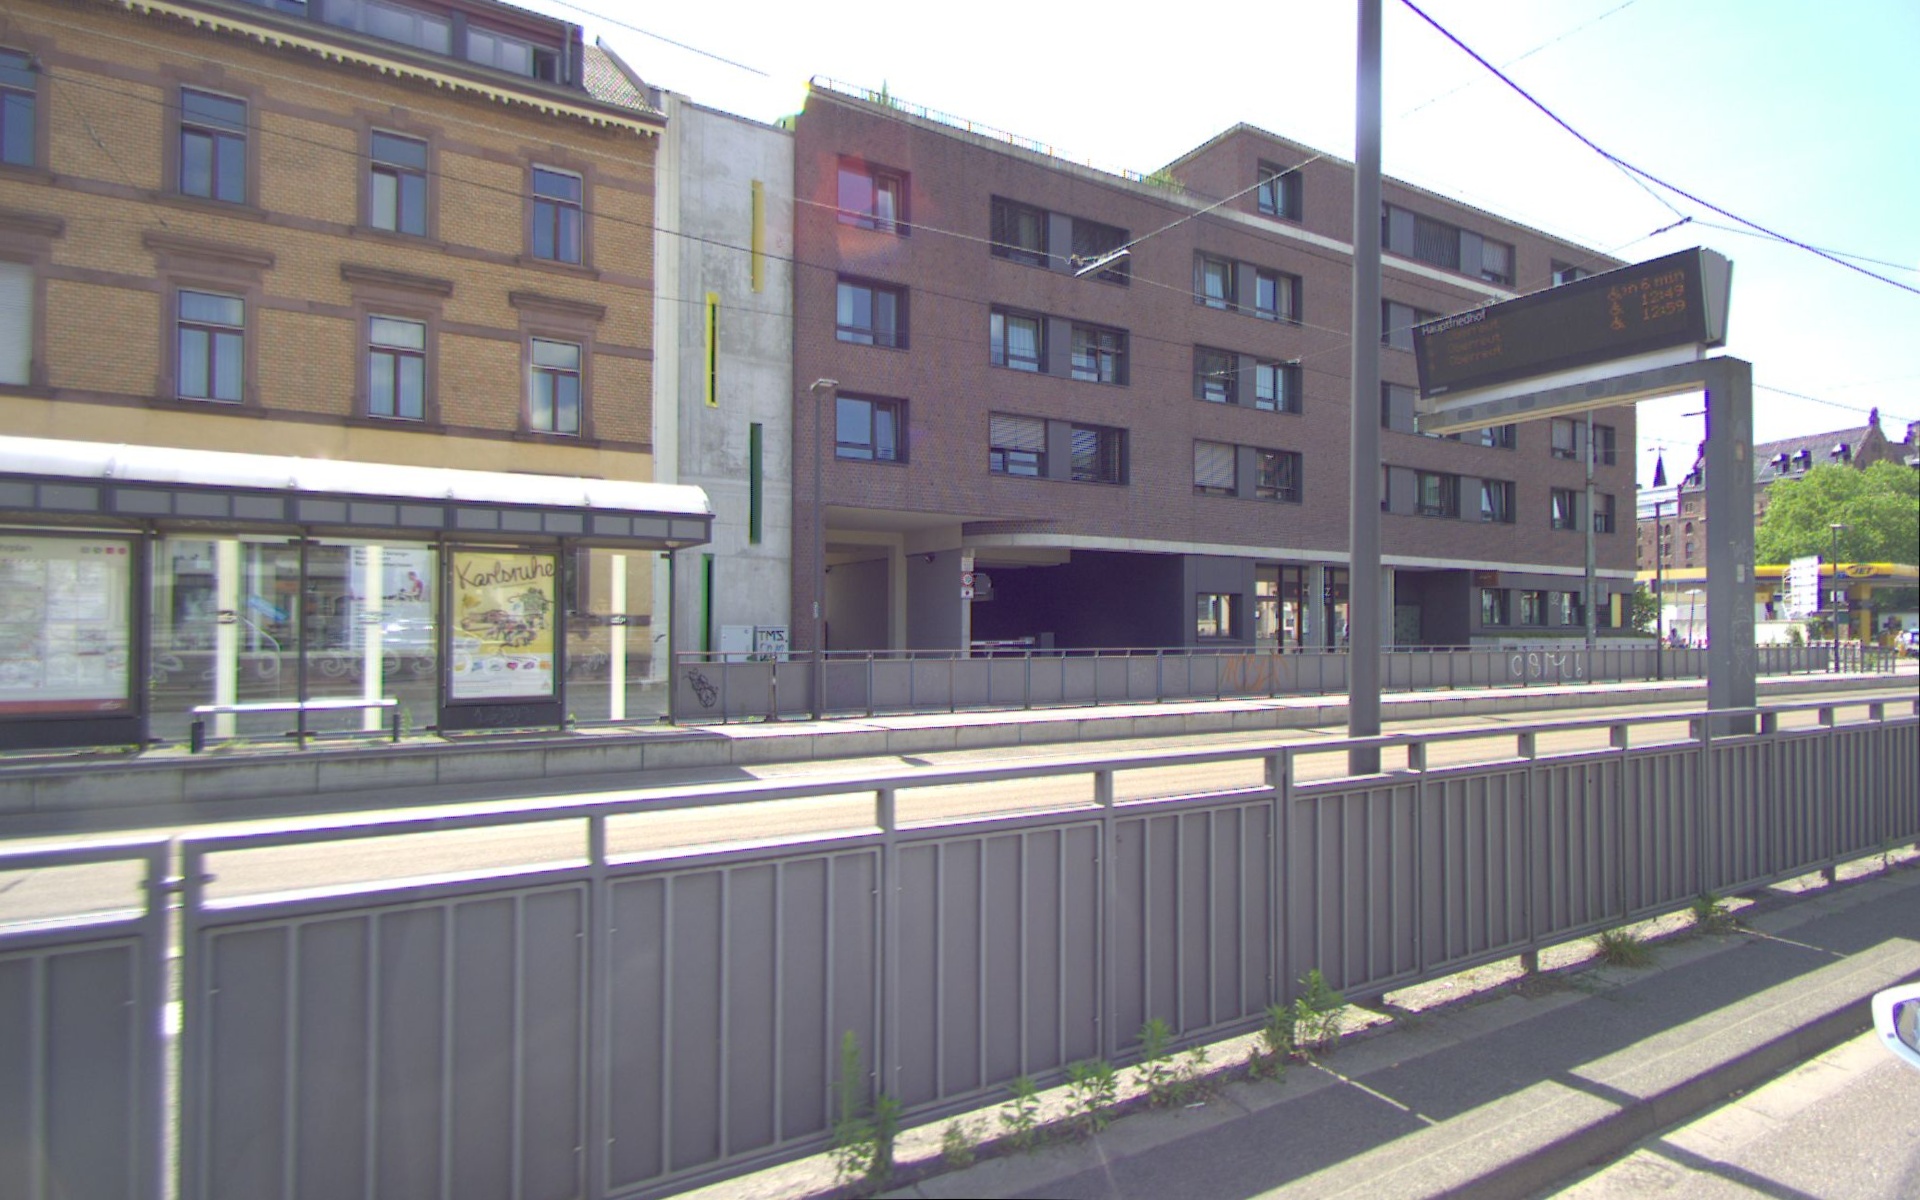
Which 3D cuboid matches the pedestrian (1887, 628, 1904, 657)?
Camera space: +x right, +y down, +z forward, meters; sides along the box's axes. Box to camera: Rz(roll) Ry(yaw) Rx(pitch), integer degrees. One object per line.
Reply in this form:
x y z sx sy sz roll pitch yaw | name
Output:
54.641 2.458 58.687 0.665 1.680 0.550 1 0 -31 | pedestrian

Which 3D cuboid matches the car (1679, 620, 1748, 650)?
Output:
44.877 2.131 59.924 2.017 1.587 4.003 -1 -4 17 | car

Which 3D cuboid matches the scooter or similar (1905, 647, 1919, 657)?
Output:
55.902 3.041 58.932 0.623 0.588 0.474 1 -1 -27 | scooter or similar

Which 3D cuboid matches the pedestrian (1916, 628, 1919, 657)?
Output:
55.927 2.457 58.231 0.659 1.693 0.577 1 0 -30 | pedestrian

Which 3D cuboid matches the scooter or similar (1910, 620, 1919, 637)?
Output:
86.145 2.573 89.963 1.045 1.486 1.309 2 -1 -26 | scooter or similar

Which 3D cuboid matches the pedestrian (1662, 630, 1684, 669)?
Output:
25.733 1.796 36.247 0.529 1.402 0.433 2 -3 -30 | pedestrian
